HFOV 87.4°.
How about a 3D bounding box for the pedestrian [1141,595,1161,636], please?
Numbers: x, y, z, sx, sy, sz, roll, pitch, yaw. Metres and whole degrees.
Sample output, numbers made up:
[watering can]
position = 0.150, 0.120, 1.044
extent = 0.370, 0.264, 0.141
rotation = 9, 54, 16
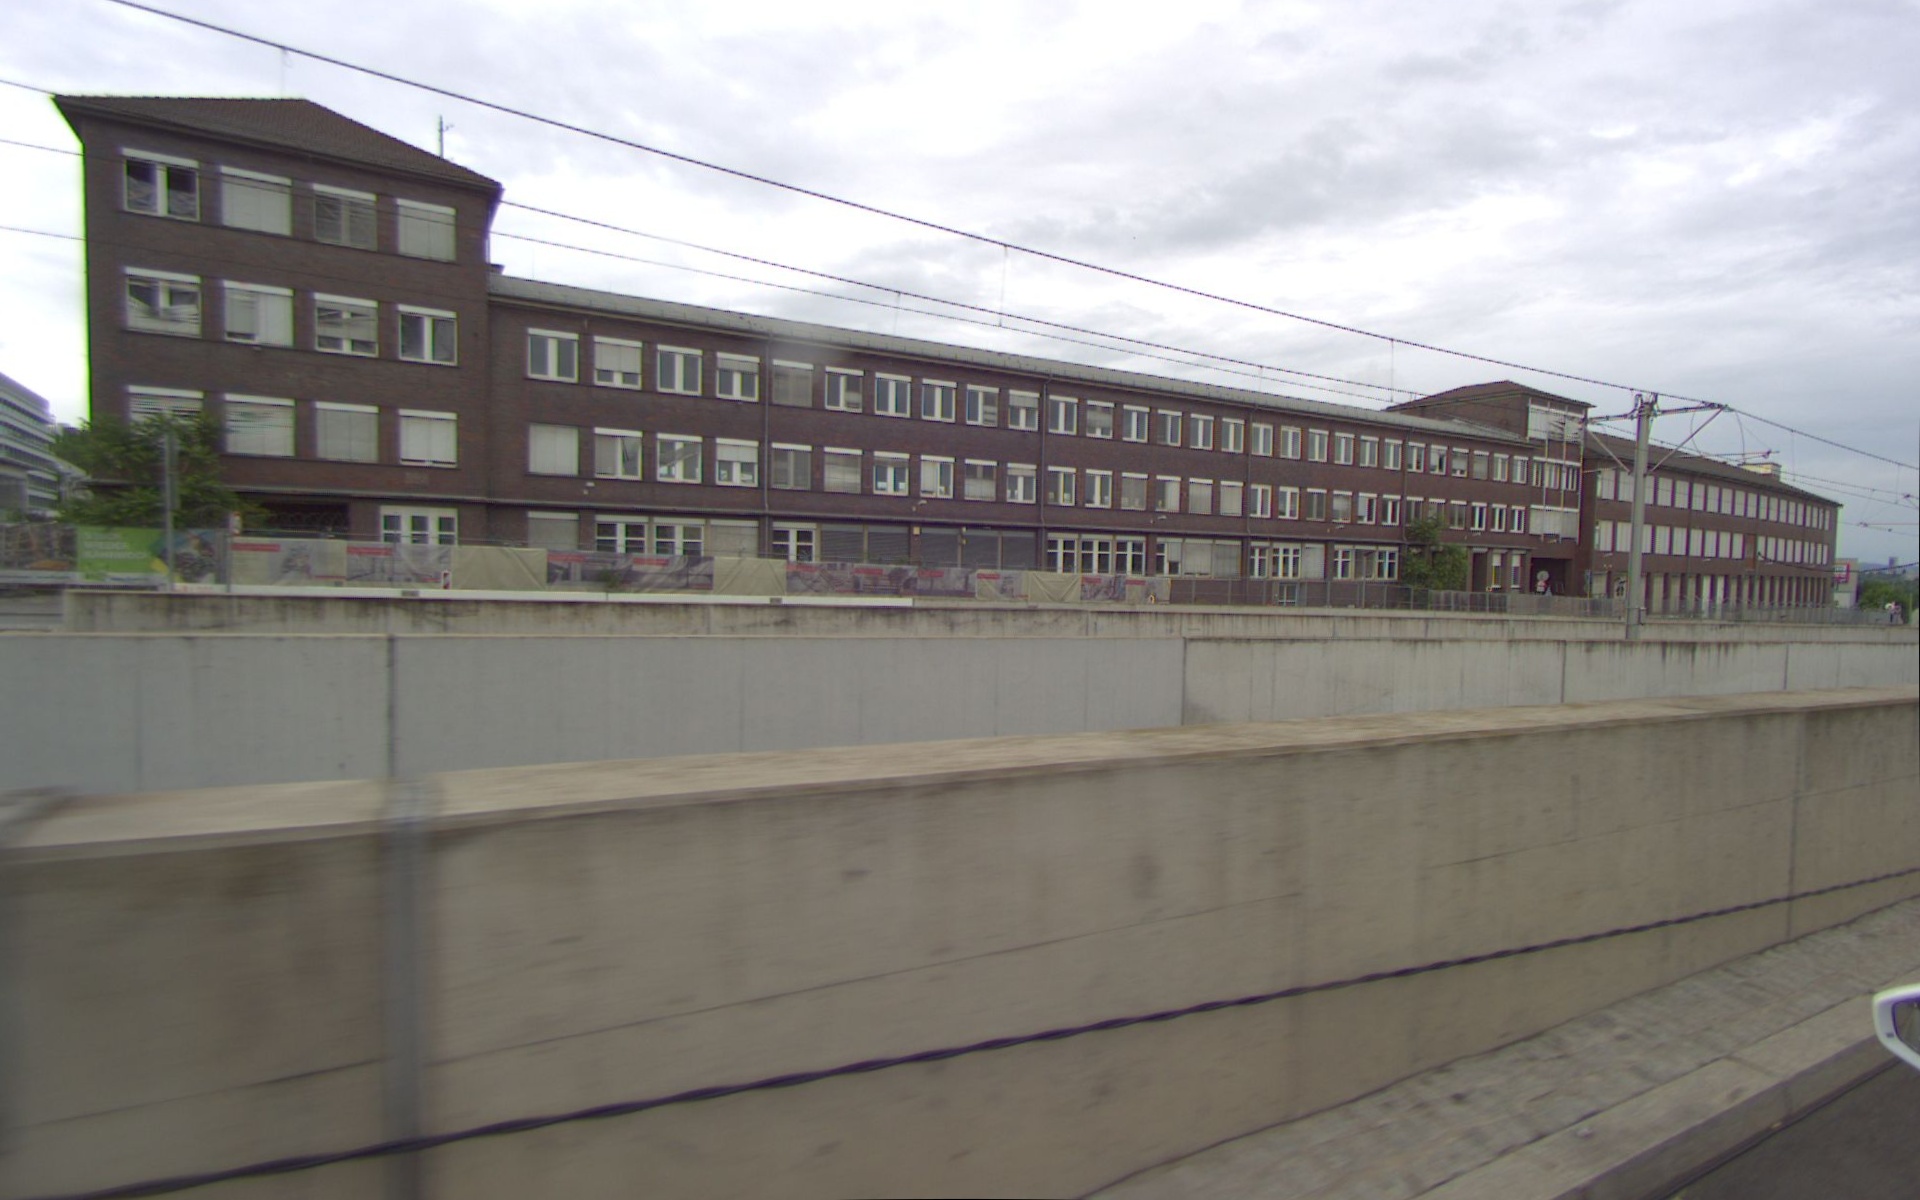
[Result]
[pedestrian]
position = 9.764, 0.781, 51.385
extent = 0.645, 2.040, 0.667
rotation = 1, 1, -32
